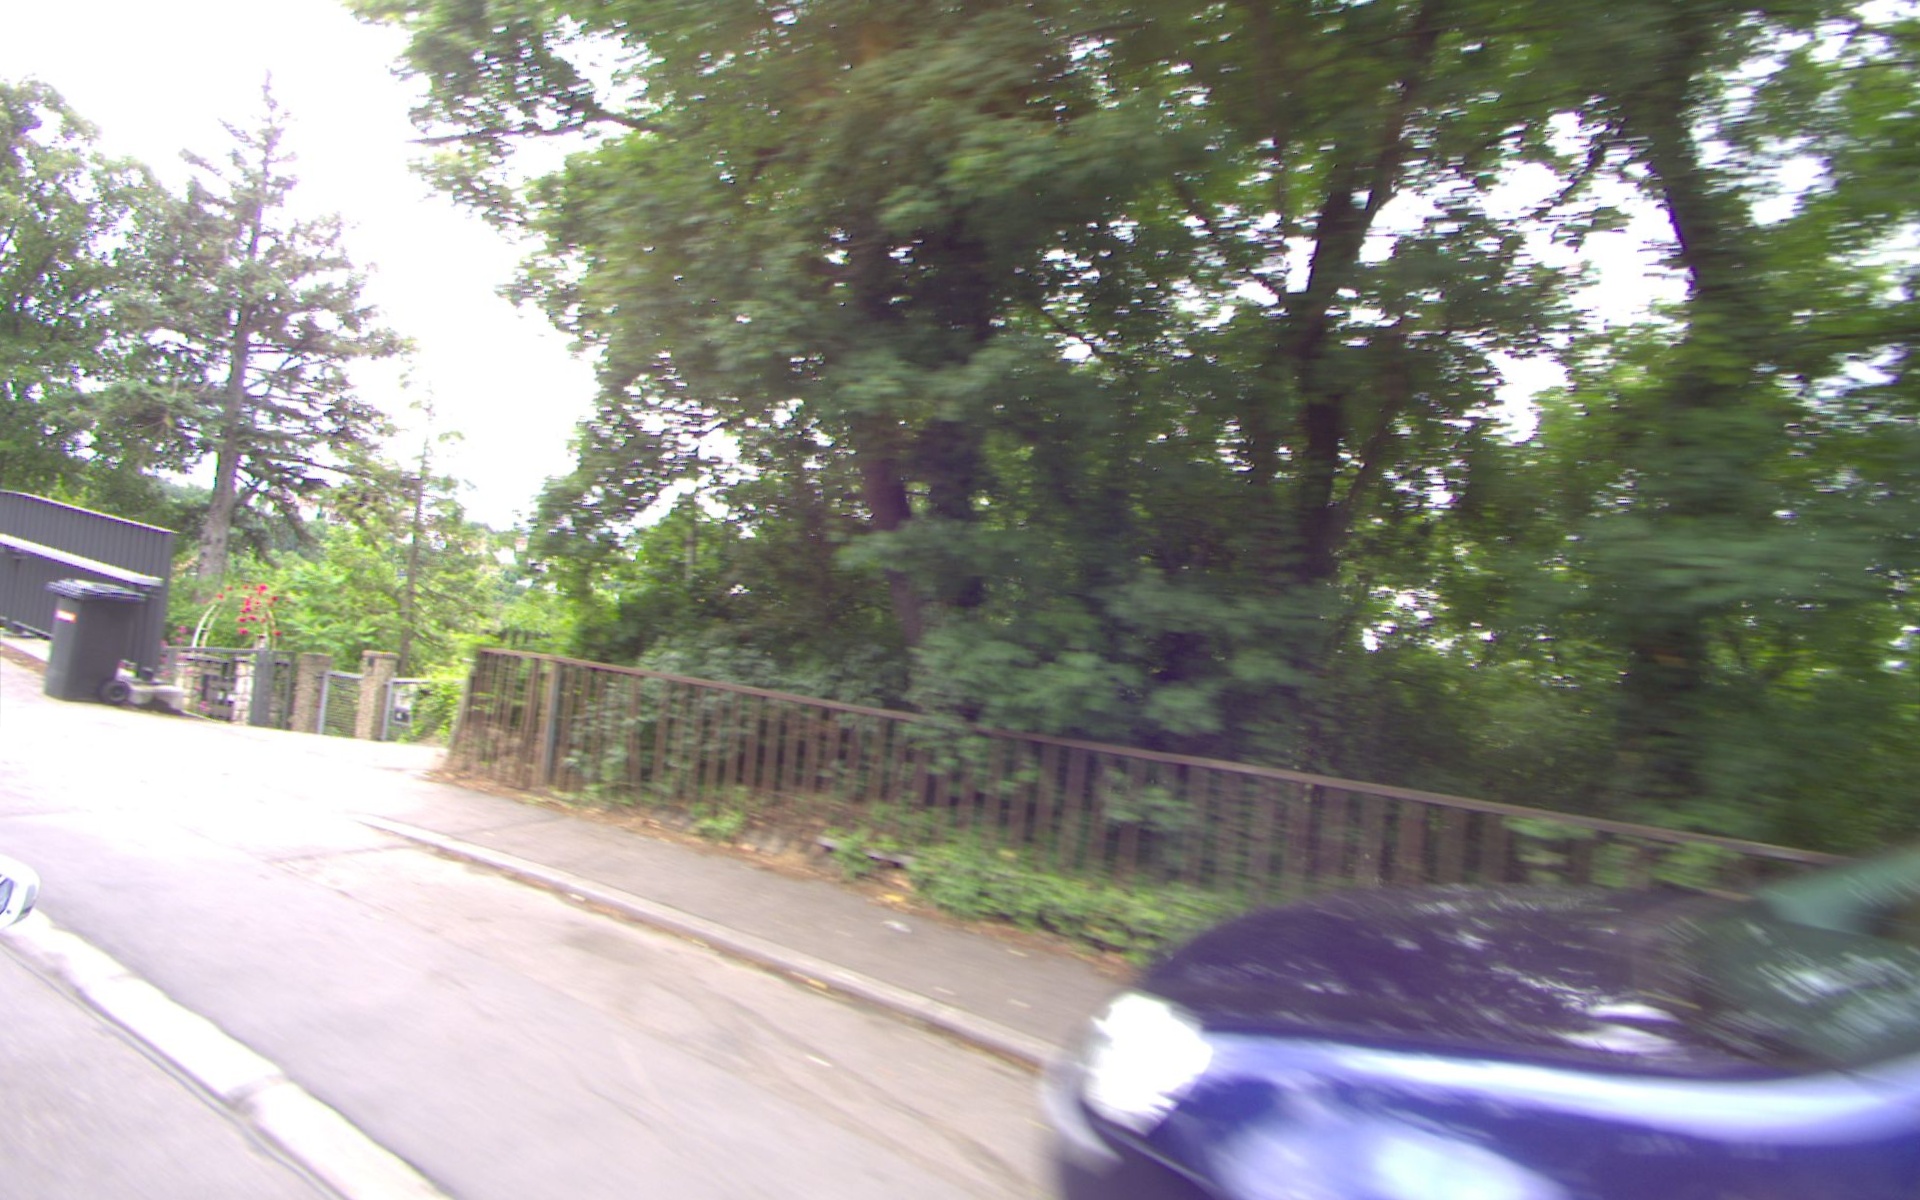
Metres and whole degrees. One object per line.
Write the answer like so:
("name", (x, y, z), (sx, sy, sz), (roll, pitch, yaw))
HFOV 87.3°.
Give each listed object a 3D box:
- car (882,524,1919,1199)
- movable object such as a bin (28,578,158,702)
("car", (2.002, 0.894, 1.349), (3.970, 1.504, 1.662), (7, -2, 34))
("movable object such as a bin", (-6.942, 0.329, 8.061), (0.523, 0.891, 0.522), (7, -2, 25))
